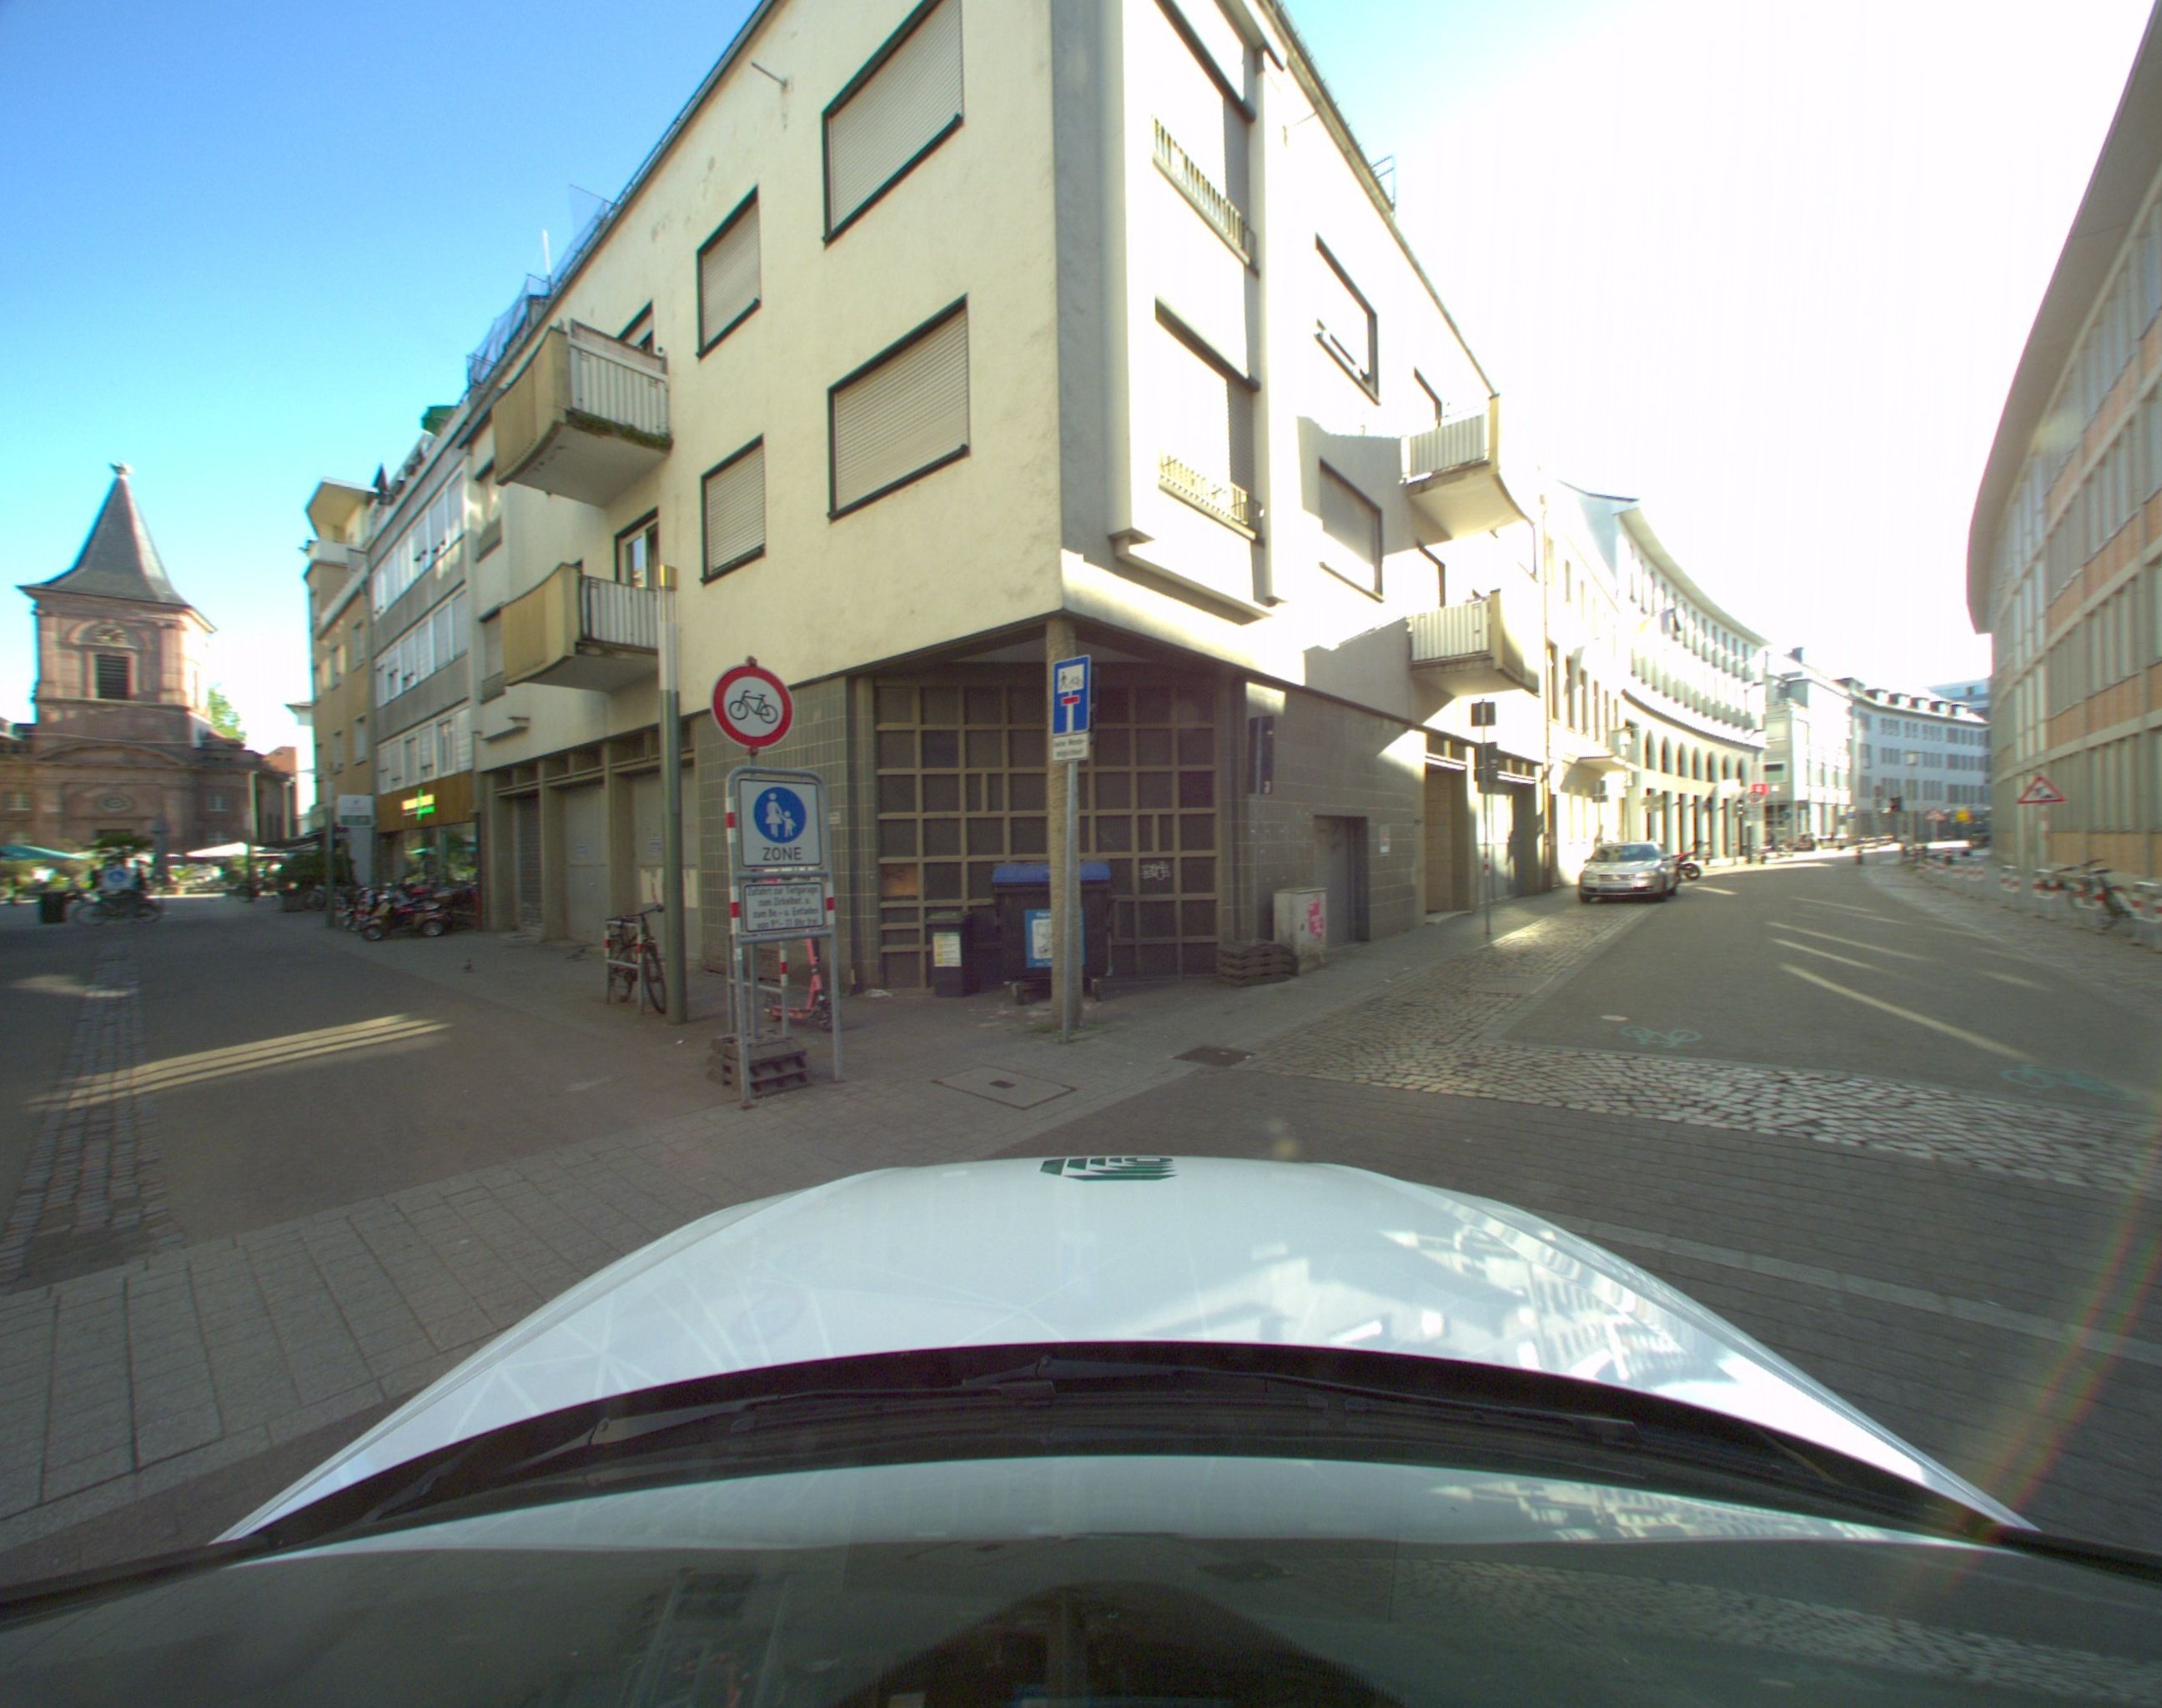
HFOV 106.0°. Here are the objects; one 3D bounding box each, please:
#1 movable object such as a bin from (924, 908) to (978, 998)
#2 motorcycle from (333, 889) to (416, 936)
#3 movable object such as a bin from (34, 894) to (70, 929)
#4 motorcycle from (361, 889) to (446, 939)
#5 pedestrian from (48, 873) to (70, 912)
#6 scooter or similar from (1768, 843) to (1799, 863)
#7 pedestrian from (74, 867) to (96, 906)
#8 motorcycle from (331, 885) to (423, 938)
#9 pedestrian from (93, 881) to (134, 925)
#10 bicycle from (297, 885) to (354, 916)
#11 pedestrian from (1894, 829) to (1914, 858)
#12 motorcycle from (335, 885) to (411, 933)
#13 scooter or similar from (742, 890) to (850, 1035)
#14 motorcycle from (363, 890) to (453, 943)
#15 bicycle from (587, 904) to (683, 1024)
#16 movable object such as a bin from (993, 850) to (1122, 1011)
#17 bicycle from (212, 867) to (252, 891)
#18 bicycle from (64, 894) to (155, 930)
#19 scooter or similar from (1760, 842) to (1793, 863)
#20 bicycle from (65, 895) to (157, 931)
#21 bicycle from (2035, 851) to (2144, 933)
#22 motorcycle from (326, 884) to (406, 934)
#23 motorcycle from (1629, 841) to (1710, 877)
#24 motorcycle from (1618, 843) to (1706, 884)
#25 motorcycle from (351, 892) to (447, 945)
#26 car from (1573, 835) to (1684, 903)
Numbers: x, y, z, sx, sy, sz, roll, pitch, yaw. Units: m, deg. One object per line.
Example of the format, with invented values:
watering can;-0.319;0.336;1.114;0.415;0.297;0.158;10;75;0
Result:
movable object such as a bin;-1.448;1.089;9.120;0.539;0.923;0.512;-2;0;-7
motorcycle;-17.799;1.457;20.547;1.494;1.075;0.408;-2;0;-32
movable object such as a bin;-33.891;1.884;26.826;0.369;1.074;0.728;-1;0;39
motorcycle;-16.214;1.411;19.527;1.494;1.075;0.408;-2;0;-32
pedestrian;-48.686;1.842;38.805;0.607;1.808;0.621;-1;0;36
scooter or similar;45.841;-0.053;53.135;0.528;1.197;1.962;-2;-2;9
pedestrian;-47.630;1.557;38.936;0.607;1.808;0.621;-1;0;36
motorcycle;-17.397;1.402;20.165;1.635;1.175;0.475;-2;0;-32
pedestrian;-33.977;1.715;28.610;0.721;1.464;0.892;-1;0;41
bicycle;-27.162;1.654;29.287;1.476;1.005;0.566;-1;0;-43
pedestrian;41.010;-0.533;40.587;0.651;1.441;0.599;-1;0;43
motorcycle;-19.147;1.461;22.048;1.495;1.181;0.408;-2;0;-35
scooter or similar;-2.700;0.977;7.668;1.223;1.253;0.310;-2;-1;37
motorcycle;-15.506;1.424;18.791;1.527;1.075;0.408;-2;0;-32
bicycle;-4.845;1.131;8.800;0.450;1.140;1.688;0;-2;-44
movable object such as a bin;-0.273;0.772;8.851;1.285;1.589;1.154;-1;1;-5
bicycle;-47.275;1.392;45.361;0.362;1.308;1.596;-1;0;12
bicycle;-30.885;1.825;25.927;0.376;1.005;1.841;-1;0;37
scooter or similar;42.412;-0.061;49.697;0.528;1.197;1.962;-2;-2;9
bicycle;-30.566;1.836;25.686;0.376;1.005;1.841;-1;0;37
bicycle;15.087;0.522;12.231;0.630;1.116;1.943;-1;0;39
motorcycle;-18.449;1.400;21.044;1.495;1.181;0.408;-2;0;-35
motorcycle;20.793;0.195;28.839;0.576;1.245;2.268;-2;-1;-29
motorcycle;18.373;0.315;25.821;0.576;1.245;2.192;-2;-1;-29
motorcycle;-15.112;1.413;18.085;1.574;1.041;0.369;-2;0;-32
car;13.556;0.333;20.084;1.748;1.470;3.837;-3;-1;41
